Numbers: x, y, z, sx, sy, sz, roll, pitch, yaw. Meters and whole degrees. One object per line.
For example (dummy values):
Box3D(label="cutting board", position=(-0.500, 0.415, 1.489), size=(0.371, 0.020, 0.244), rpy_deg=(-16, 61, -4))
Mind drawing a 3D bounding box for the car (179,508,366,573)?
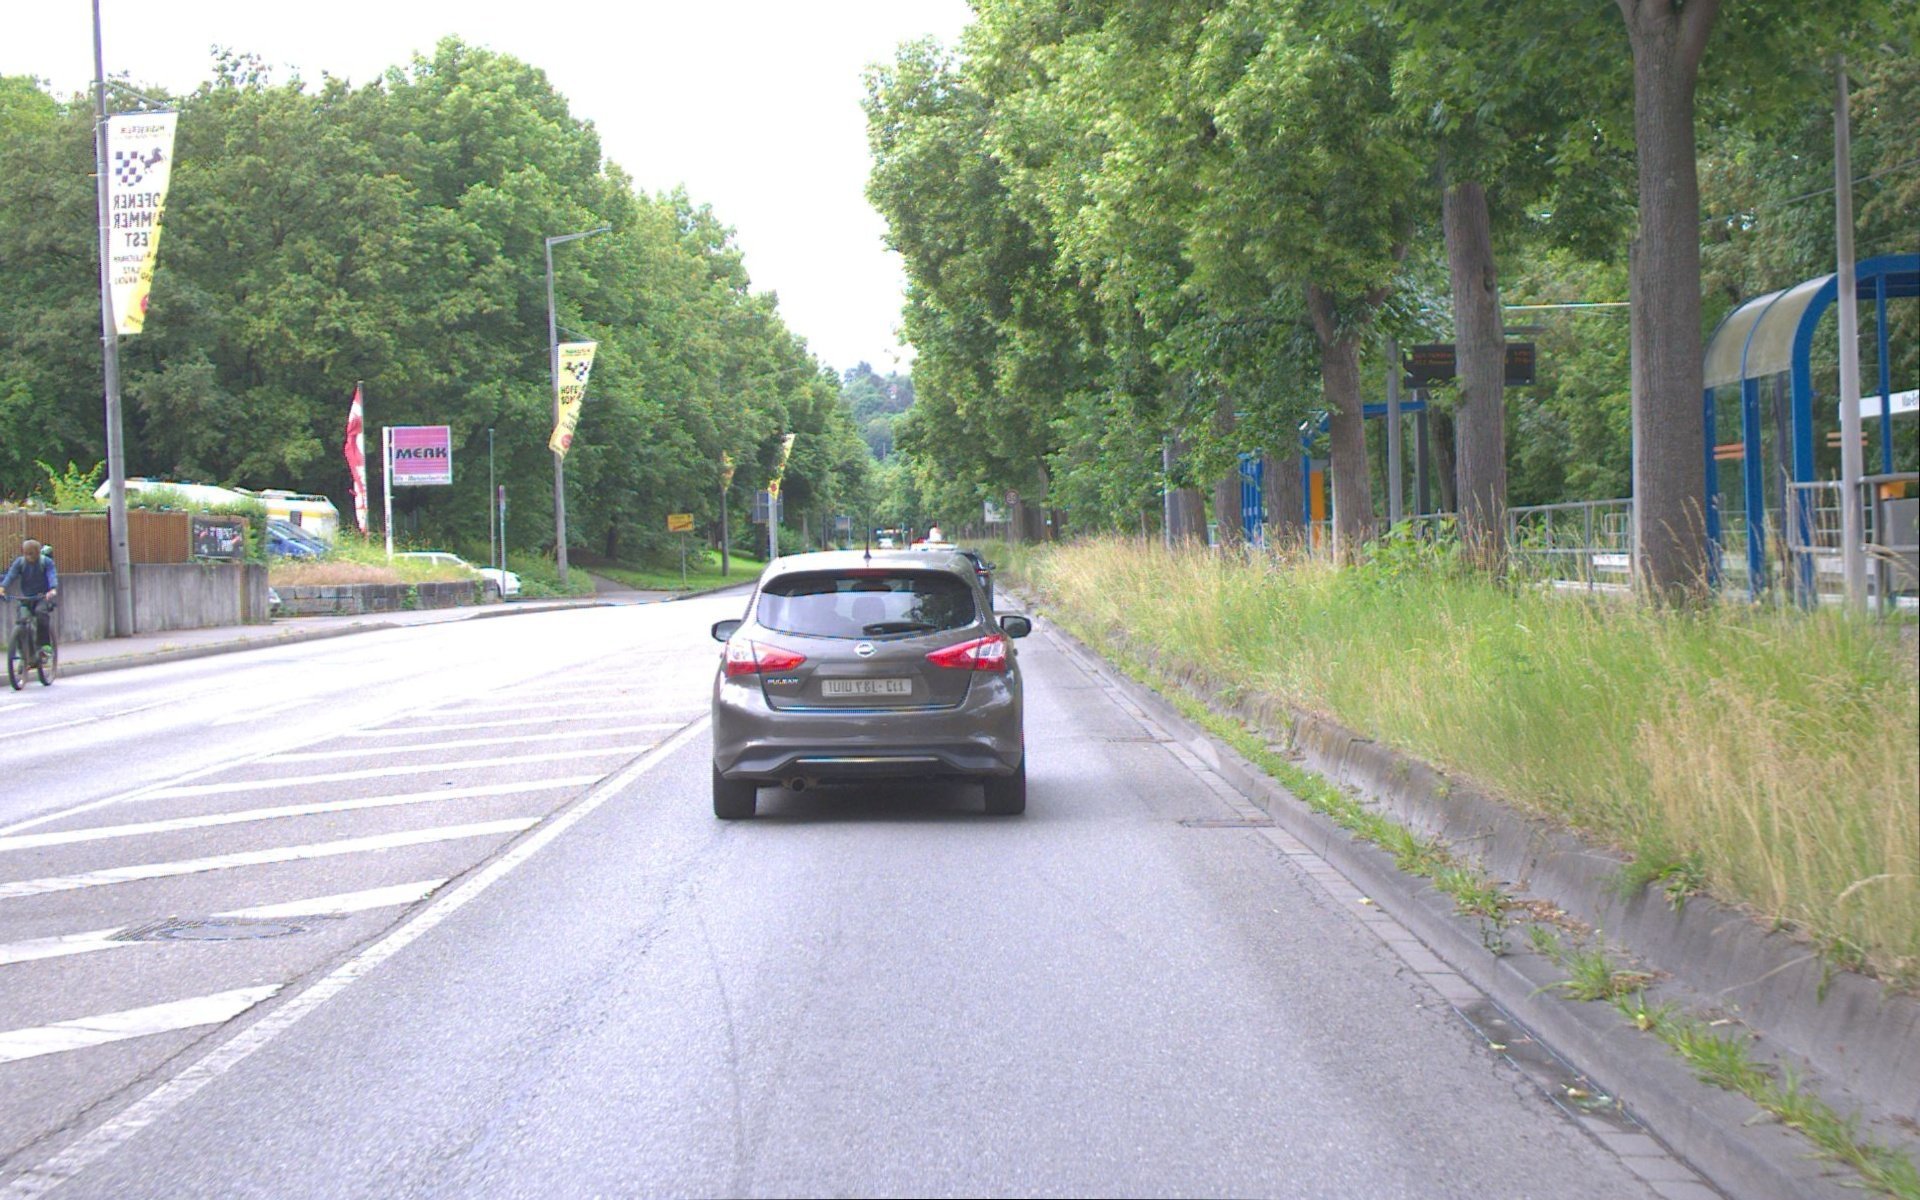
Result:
Box3D(label="car", position=(-16.271, -1.397, 81.428), size=(3.987, 1.492, 1.859), rpy_deg=(0, 0, 5))

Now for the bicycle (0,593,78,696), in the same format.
Box3D(label="bicycle", position=(-10.913, 0.509, 40.527), size=(0.642, 1.141, 2.148), rpy_deg=(0, 1, -5))

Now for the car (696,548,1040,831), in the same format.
Box3D(label="car", position=(-0.458, 0.468, 20.638), size=(1.837, 1.523, 3.929), rpy_deg=(0, 1, 2))

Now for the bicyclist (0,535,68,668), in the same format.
Box3D(label="bicyclist", position=(-10.883, 0.009, 40.352), size=(0.642, 1.530, 0.979), rpy_deg=(0, 1, -5))

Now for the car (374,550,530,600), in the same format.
Box3D(label="car", position=(-14.995, -0.737, 101.621), size=(4.374, 1.436, 1.961), rpy_deg=(0, 1, -2))

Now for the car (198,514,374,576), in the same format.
Box3D(label="car", position=(-16.704, -1.352, 85.259), size=(3.987, 1.487, 1.647), rpy_deg=(0, 0, 5))

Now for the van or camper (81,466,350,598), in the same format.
Box3D(label="van or camper", position=(-21.909, -1.997, 101.436), size=(7.141, 3.359, 2.796), rpy_deg=(4, 1, 0))

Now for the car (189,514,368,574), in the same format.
Box3D(label="car", position=(-16.504, -1.354, 83.300), size=(3.987, 1.406, 1.533), rpy_deg=(0, 0, 5))

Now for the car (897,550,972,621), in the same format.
Box3D(label="car", position=(-0.537, -0.328, 75.429), size=(1.503, 1.523, 3.671), rpy_deg=(0, 1, 2))
